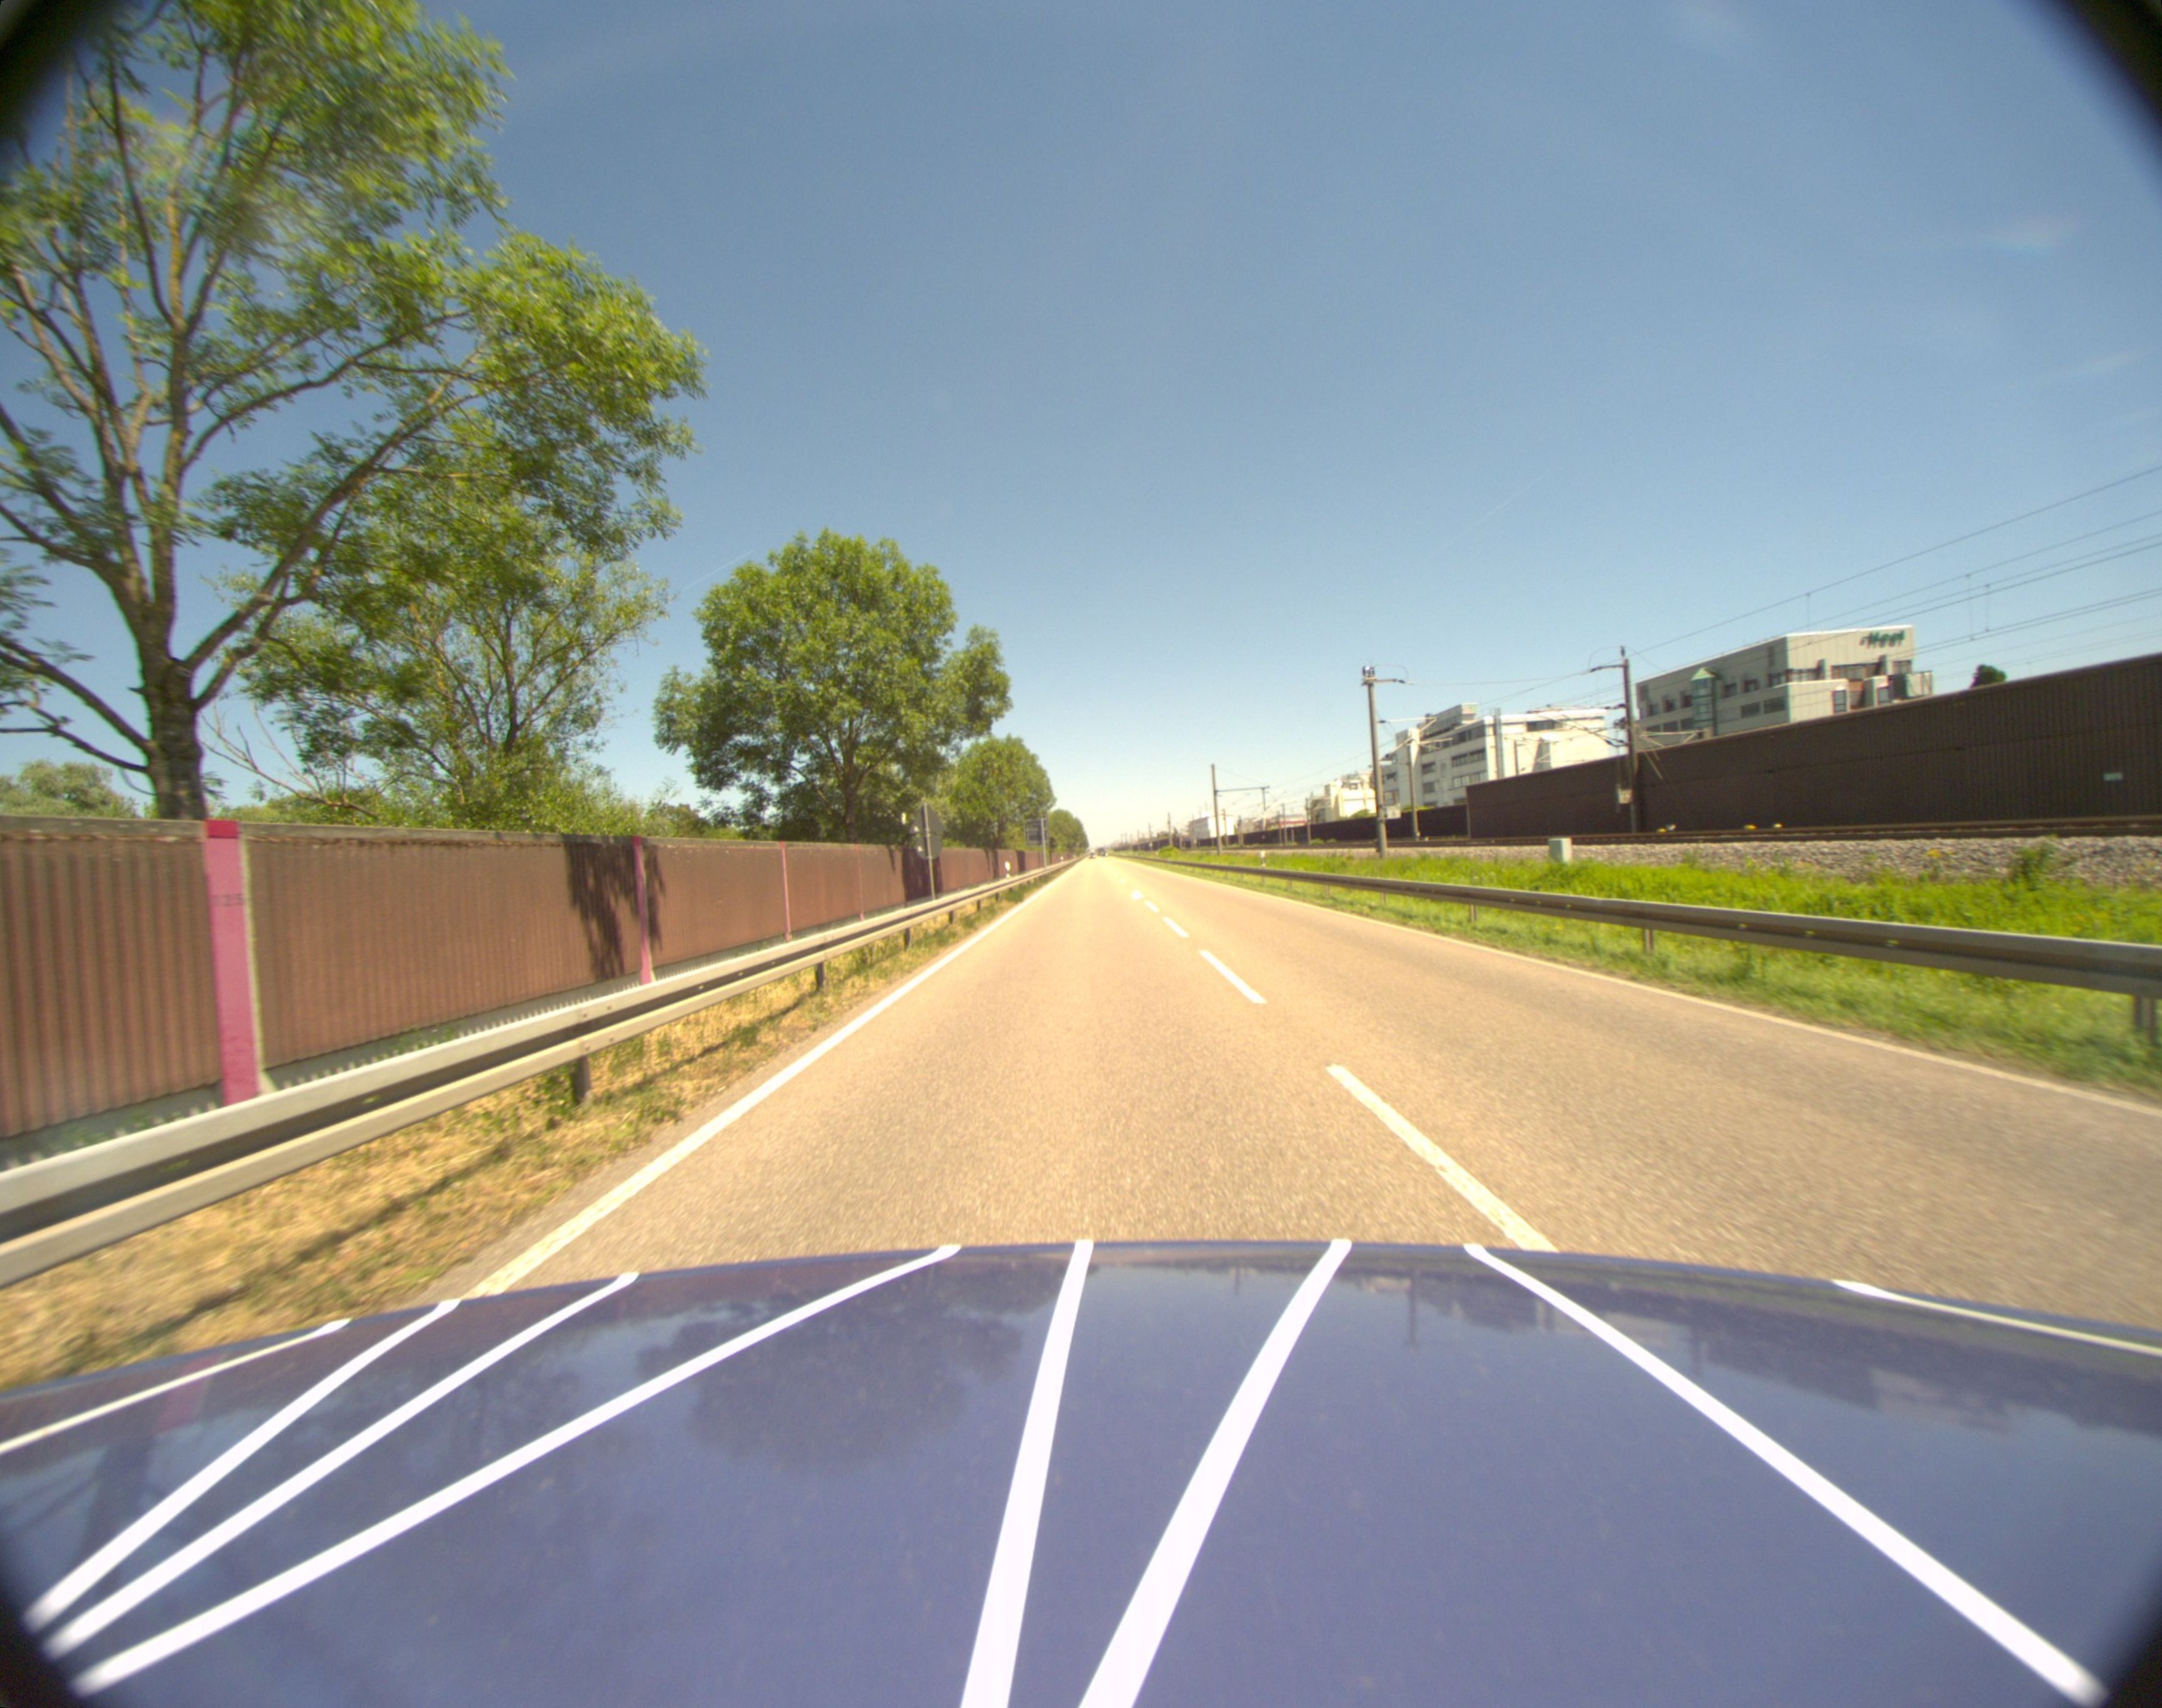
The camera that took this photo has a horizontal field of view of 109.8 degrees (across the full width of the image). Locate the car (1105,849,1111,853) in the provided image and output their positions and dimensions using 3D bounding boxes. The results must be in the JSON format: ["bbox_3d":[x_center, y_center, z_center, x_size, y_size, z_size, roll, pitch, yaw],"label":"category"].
[{"bbox_3d":[9.102,-1.021,258.973,1.803,1.455,4.000,-3,0,2],"label":"car"}]

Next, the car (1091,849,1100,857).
[{"bbox_3d":[3.595,-0.241,194.044,1.998,2.002,4.001,-3,1,4],"label":"car"}]
